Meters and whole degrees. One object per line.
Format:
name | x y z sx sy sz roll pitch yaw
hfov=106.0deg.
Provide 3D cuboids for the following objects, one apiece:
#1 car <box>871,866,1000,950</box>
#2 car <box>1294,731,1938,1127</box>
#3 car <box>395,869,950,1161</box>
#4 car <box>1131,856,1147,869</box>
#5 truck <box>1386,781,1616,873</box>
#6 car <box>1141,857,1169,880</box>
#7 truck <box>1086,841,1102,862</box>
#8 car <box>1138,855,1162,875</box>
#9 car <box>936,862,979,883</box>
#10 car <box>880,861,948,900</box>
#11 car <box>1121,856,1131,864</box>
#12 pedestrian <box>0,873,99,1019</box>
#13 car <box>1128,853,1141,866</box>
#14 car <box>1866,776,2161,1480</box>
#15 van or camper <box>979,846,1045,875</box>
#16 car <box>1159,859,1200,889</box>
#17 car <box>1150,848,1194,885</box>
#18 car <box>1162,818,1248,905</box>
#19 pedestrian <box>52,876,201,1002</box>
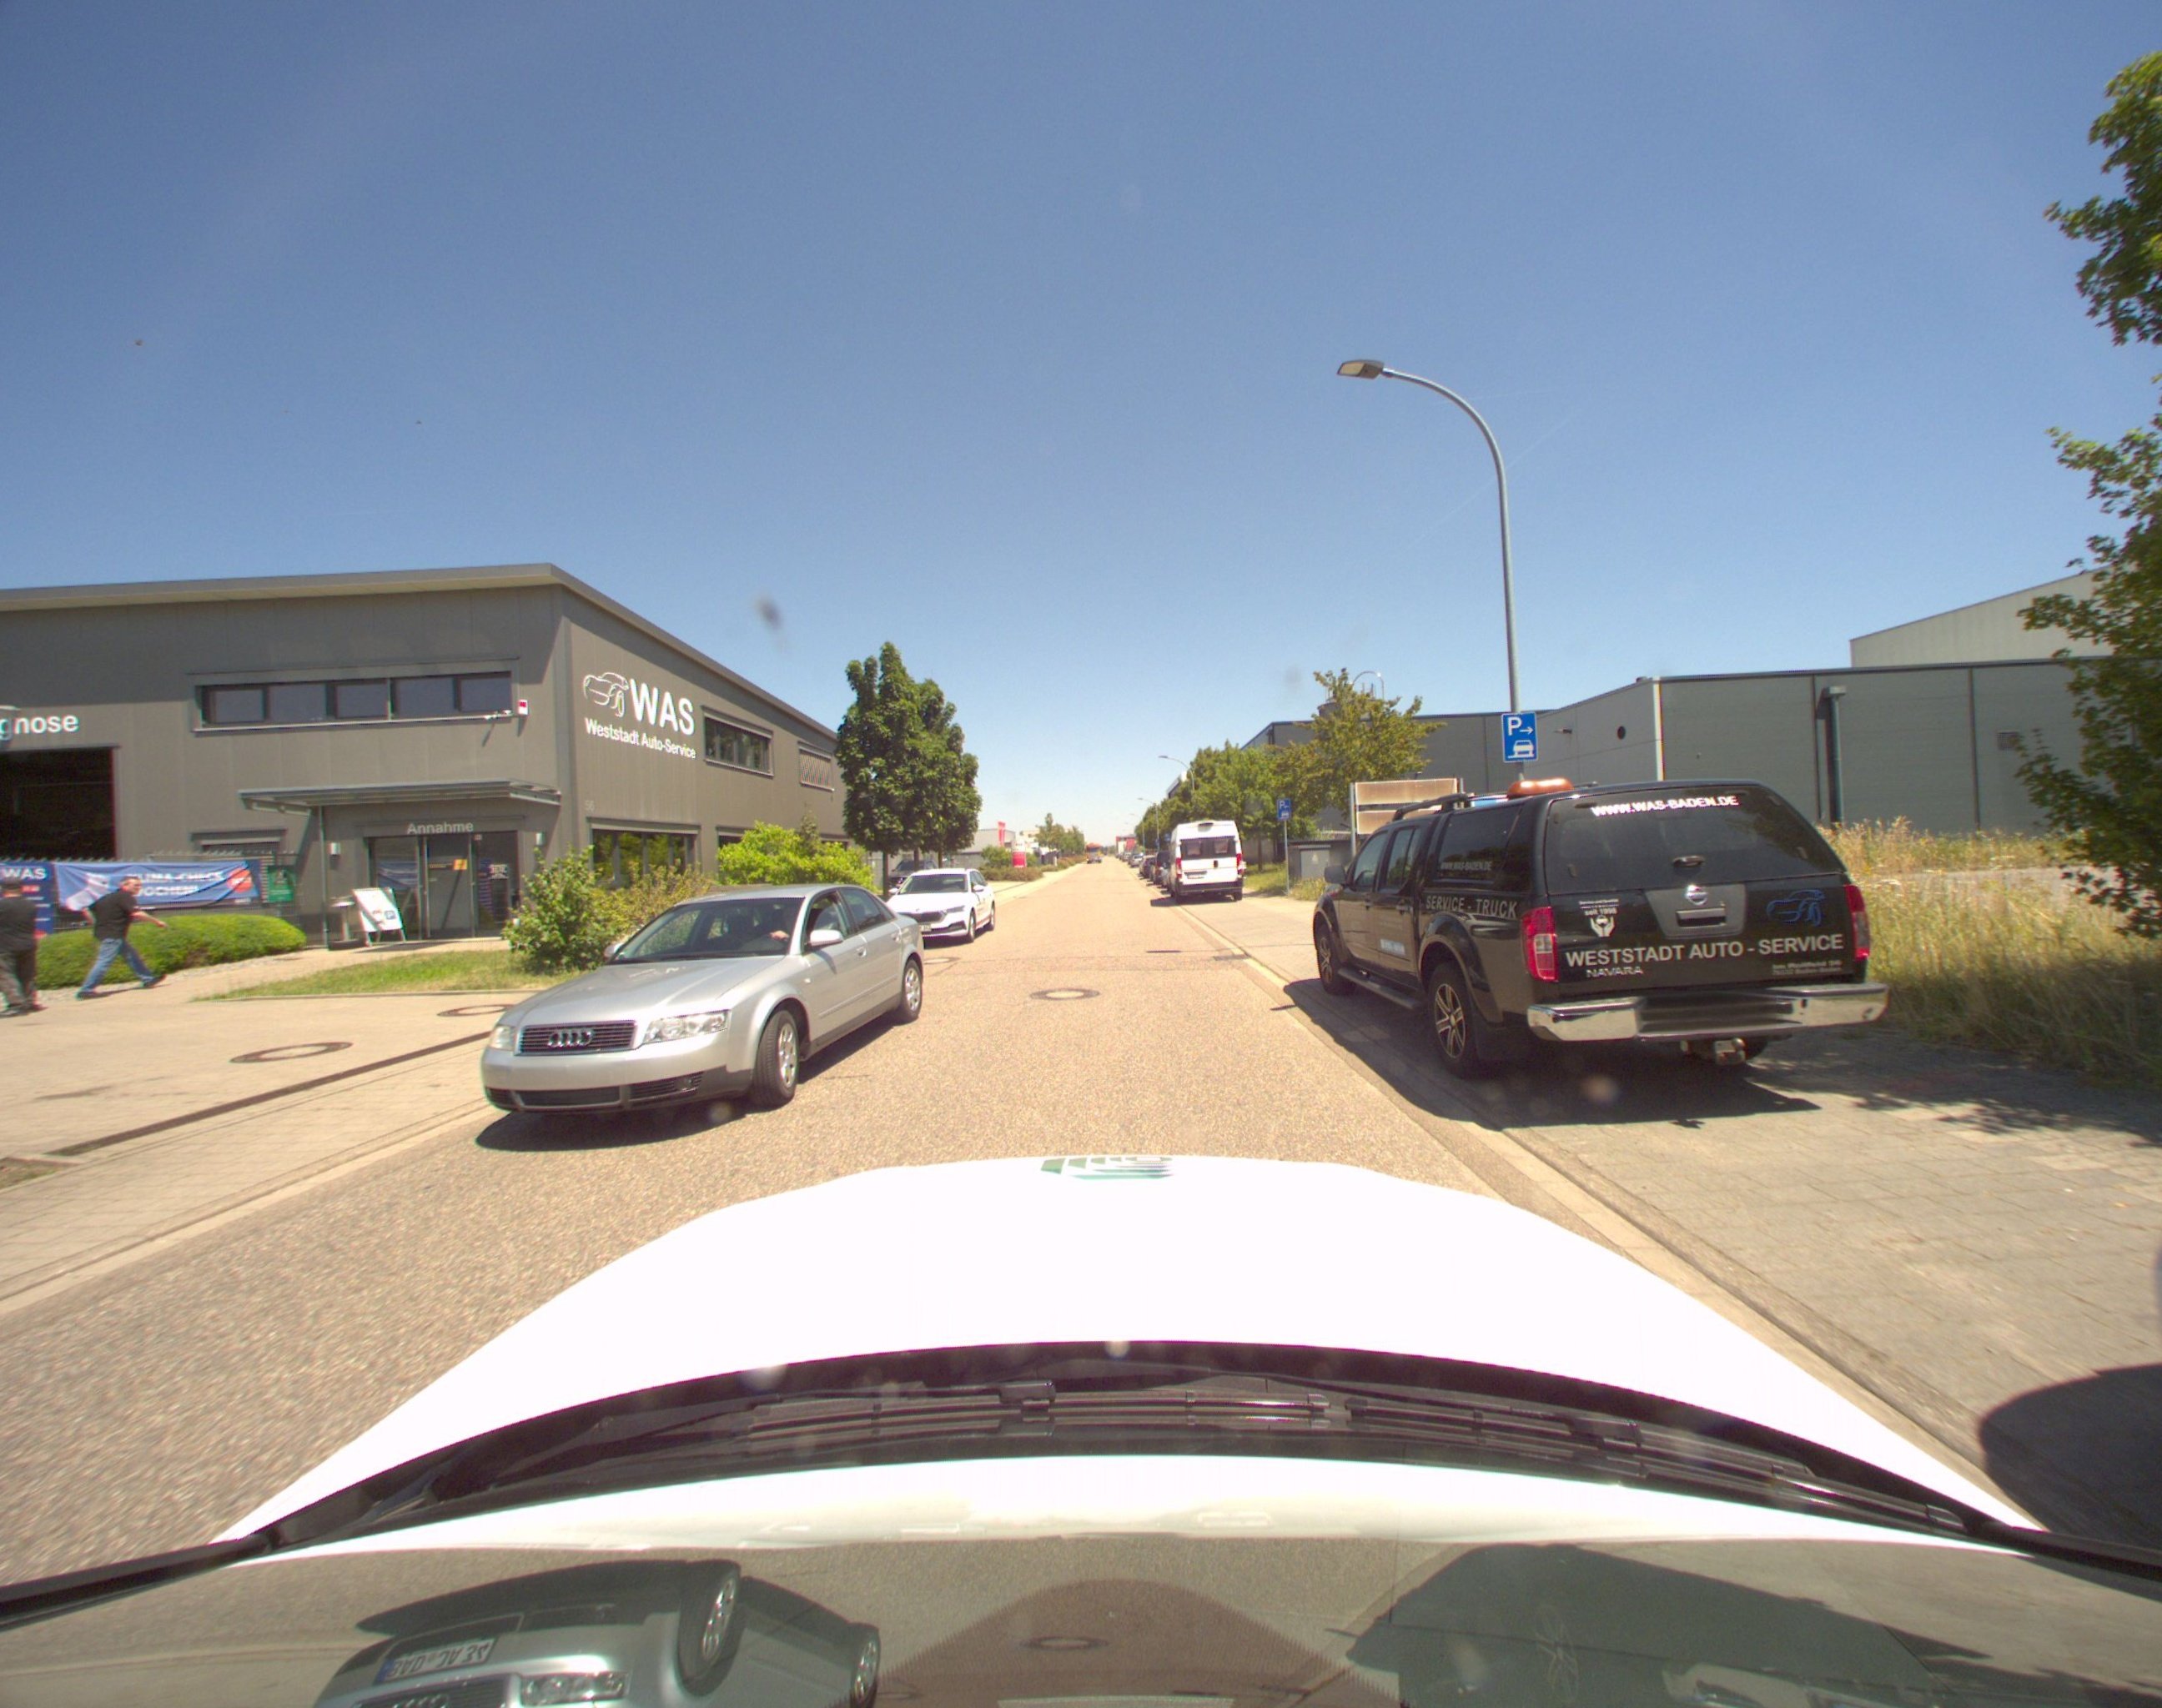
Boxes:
car | -2.912 1.028 17.280 1.723 1.458 4.493 -2 -1 2
car | 3.368 0.395 6.704 1.986 1.884 5.158 -4 0 2
car | -2.633 0.937 6.663 1.773 1.422 4.423 -5 -1 7
car | 6.659 0.975 93.699 1.711 1.450 3.647 -3 0 2
truck | 20.446 -1.298 39.851 9.975 3.822 3.028 -3 -1 -9
car | 5.219 0.985 56.843 1.700 1.504 4.715 -3 -1 7
truck | 2.297 -0.391 144.496 2.439 3.513 8.276 -4 0 2
car | 5.760 0.913 68.395 1.631 1.469 3.744 -4 0 -1
car | -10.509 1.569 69.478 3.493 1.552 1.556 -2 0 -3
car | -8.382 1.296 41.351 1.984 1.735 4.921 -1 1 6
car | 7.806 1.027 140.884 1.579 1.409 3.502 -3 0 2
pedestrian | -13.350 1.126 10.261 0.921 1.725 1.021 -1 0 26
car | 7.296 0.774 111.692 1.715 1.694 3.987 -3 0 3
car | 3.148 0.525 0.330 1.732 1.530 4.000 -4 0 0
van or camper | -8.100 0.733 96.058 7.358 3.037 2.791 -3 0 1
car | 4.741 0.945 39.478 1.704 1.287 4.119 -3 -1 4
car | 4.920 0.683 44.528 1.986 1.825 4.355 -3 -1 2
car | 4.039 0.236 27.535 2.257 2.497 6.158 -3 0 4
pedestrian | -13.860 1.198 11.869 0.722 1.645 1.084 -3 3 1
